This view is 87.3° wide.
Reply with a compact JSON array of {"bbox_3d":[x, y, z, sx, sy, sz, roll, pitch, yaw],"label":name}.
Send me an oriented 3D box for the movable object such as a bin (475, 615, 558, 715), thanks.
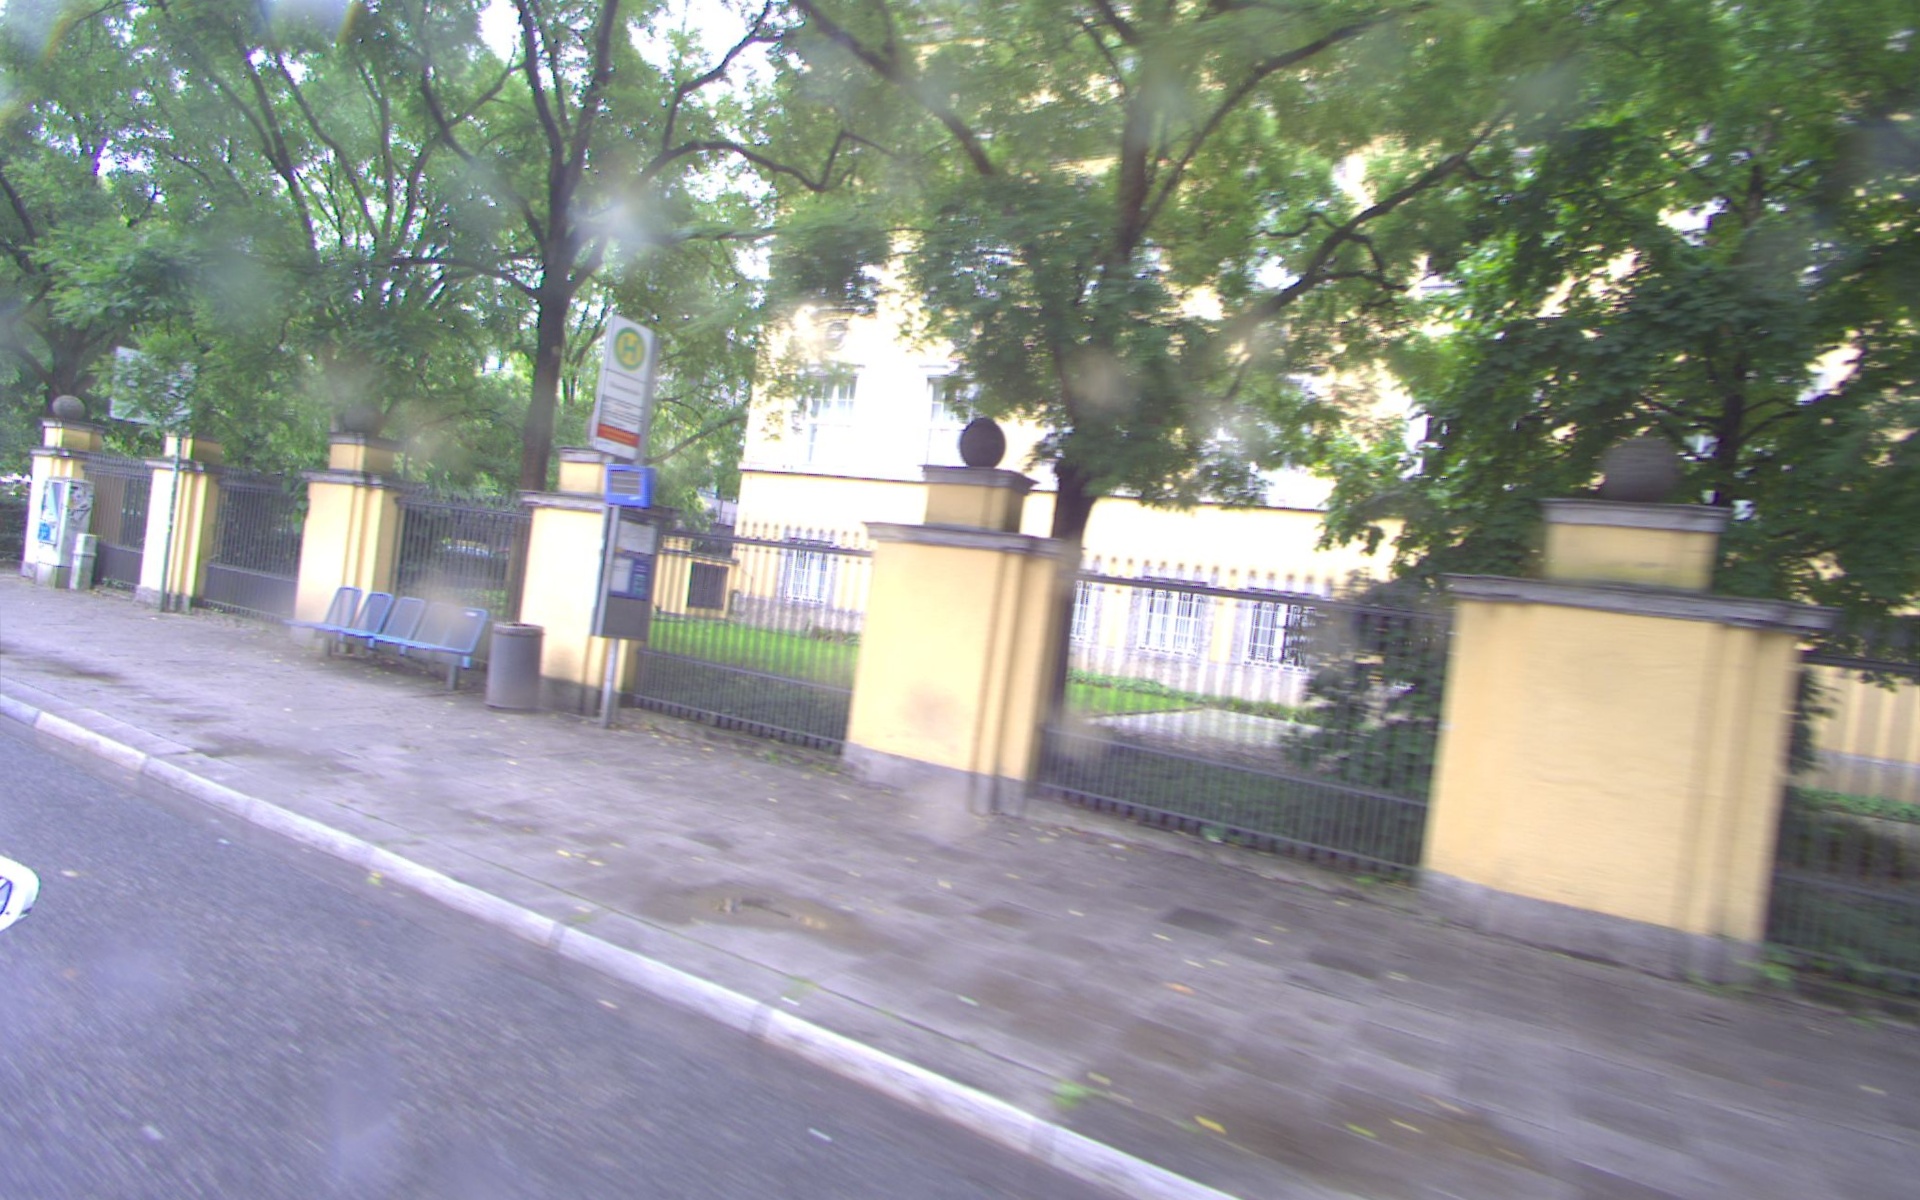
[{"bbox_3d":[-3.845,0.563,8.721,0.457,0.790,0.397,7,1,32],"label":"movable object such as a bin"}]
